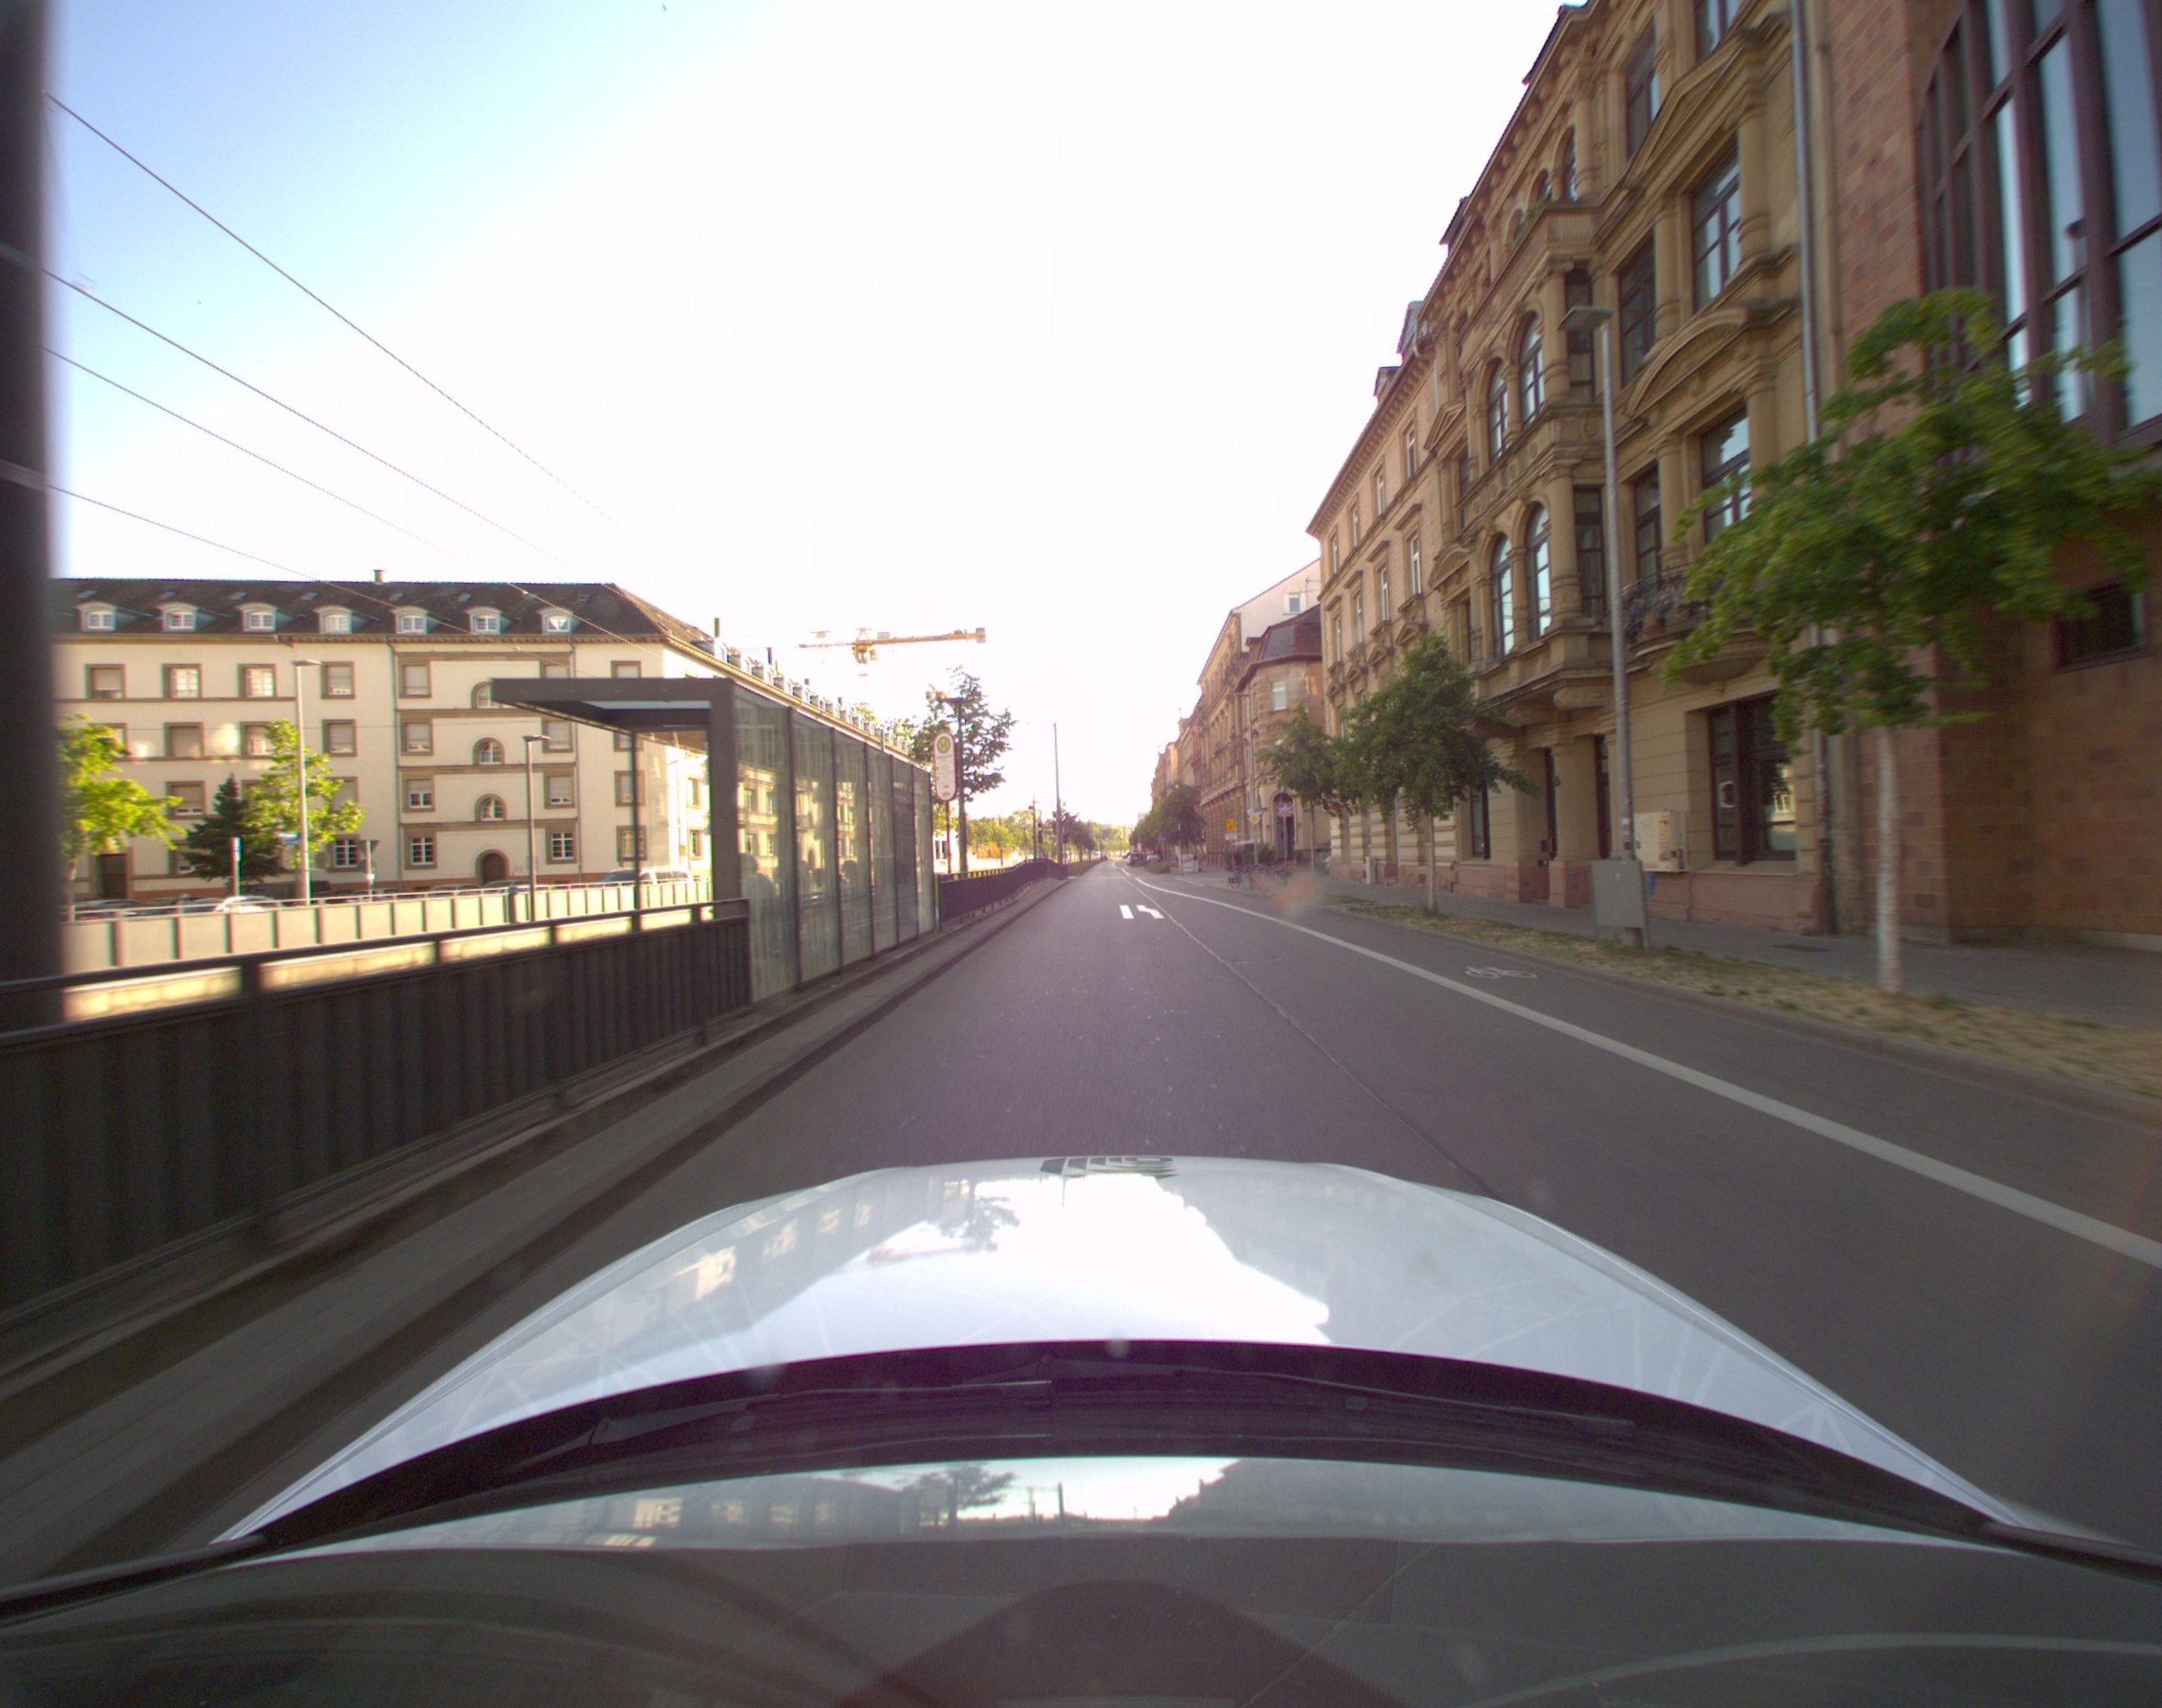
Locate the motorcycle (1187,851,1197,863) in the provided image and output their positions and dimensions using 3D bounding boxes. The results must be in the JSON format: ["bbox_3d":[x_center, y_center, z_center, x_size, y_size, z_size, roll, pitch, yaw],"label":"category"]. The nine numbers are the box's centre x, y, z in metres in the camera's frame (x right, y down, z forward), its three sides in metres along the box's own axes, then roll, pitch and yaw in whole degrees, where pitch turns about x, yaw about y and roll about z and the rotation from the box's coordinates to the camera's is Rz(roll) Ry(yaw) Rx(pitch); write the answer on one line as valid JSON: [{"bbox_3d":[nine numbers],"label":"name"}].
[{"bbox_3d":[12.925,0.295,94.866,0.792,1.308,2.853,-5,1,2],"label":"motorcycle"}]

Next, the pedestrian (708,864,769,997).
[{"bbox_3d":[-3.217,0.699,7.671,0.406,1.190,0.428,-2,0,-11],"label":"pedestrian"}]

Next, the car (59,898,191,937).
[{"bbox_3d":[-47.011,3.093,40.196,1.833,1.501,3.995,-3,1,-4],"label":"car"}]

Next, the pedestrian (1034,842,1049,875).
[{"bbox_3d":[-1.975,0.220,40.928,0.652,1.643,0.867,-2,-1,2],"label":"pedestrian"}]

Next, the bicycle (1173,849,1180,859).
[{"bbox_3d":[14.416,0.003,123.096,0.658,1.402,2.353,-3,1,1],"label":"bicycle"}]

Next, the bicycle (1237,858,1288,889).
[{"bbox_3d":[7.271,0.762,32.667,1.822,1.064,0.663,-5,1,-4],"label":"bicycle"}]

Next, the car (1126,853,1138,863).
[{"bbox_3d":[8.184,0.666,129.838,1.842,1.457,4.160,-3,1,3],"label":"car"}]

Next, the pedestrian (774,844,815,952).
[{"bbox_3d":[-3.761,0.566,10.705,0.406,1.385,0.428,-2,0,-11],"label":"pedestrian"}]

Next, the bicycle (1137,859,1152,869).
[{"bbox_3d":[7.380,1.186,94.791,1.685,1.048,0.490,-6,0,2],"label":"bicycle"}]

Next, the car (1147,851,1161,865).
[{"bbox_3d":[8.954,0.510,100.030,1.629,1.486,4.217,-4,1,4],"label":"car"}]

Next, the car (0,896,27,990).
[{"bbox_3d":[-24.698,2.029,16.123,1.982,2.013,4.156,-3,1,8],"label":"car"}]

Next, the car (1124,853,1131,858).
[{"bbox_3d":[14.516,0.317,255.712,1.787,1.464,4.010,-3,0,9],"label":"car"}]

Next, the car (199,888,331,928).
[{"bbox_3d":[-39.965,2.587,40.066,1.833,1.501,4.707,-3,1,-4],"label":"car"}]

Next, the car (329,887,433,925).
[{"bbox_3d":[-34.937,2.578,40.821,1.833,1.501,3.995,-3,1,-4],"label":"car"}]

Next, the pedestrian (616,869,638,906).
[{"bbox_3d":[-25.524,1.902,45.772,0.797,2.013,0.625,-3,1,1],"label":"pedestrian"}]

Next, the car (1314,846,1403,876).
[{"bbox_3d":[14.695,0.379,43.144,4.141,1.388,1.613,-3,-1,-10],"label":"car"}]

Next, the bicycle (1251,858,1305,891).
[{"bbox_3d":[7.552,0.768,31.276,1.822,1.064,0.663,-5,1,-4],"label":"bicycle"}]

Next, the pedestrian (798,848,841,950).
[{"bbox_3d":[-3.172,0.538,9.901,0.406,1.190,0.428,-2,0,-11],"label":"pedestrian"}]

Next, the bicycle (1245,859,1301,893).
[{"bbox_3d":[7.052,0.812,29.913,1.822,1.064,0.663,-5,1,-4],"label":"bicycle"}]

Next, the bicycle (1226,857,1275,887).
[{"bbox_3d":[7.099,0.749,34.146,1.822,1.064,0.663,-5,1,-4],"label":"bicycle"}]

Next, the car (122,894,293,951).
[{"bbox_3d":[-31.699,2.446,29.757,1.833,1.585,4.151,-3,1,-4],"label":"car"}]

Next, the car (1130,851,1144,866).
[{"bbox_3d":[7.965,0.648,116.515,1.877,1.937,4.477,-3,1,3],"label":"car"}]

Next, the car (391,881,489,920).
[{"bbox_3d":[-32.316,2.313,41.208,1.833,1.585,3.995,-3,1,-4],"label":"car"}]

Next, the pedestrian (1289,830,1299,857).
[{"bbox_3d":[13.791,-0.685,52.699,0.442,1.740,0.546,-3,0,30],"label":"pedestrian"}]

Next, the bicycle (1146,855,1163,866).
[{"bbox_3d":[8.252,0.735,91.538,1.689,1.048,0.488,-4,0,-6],"label":"bicycle"}]
